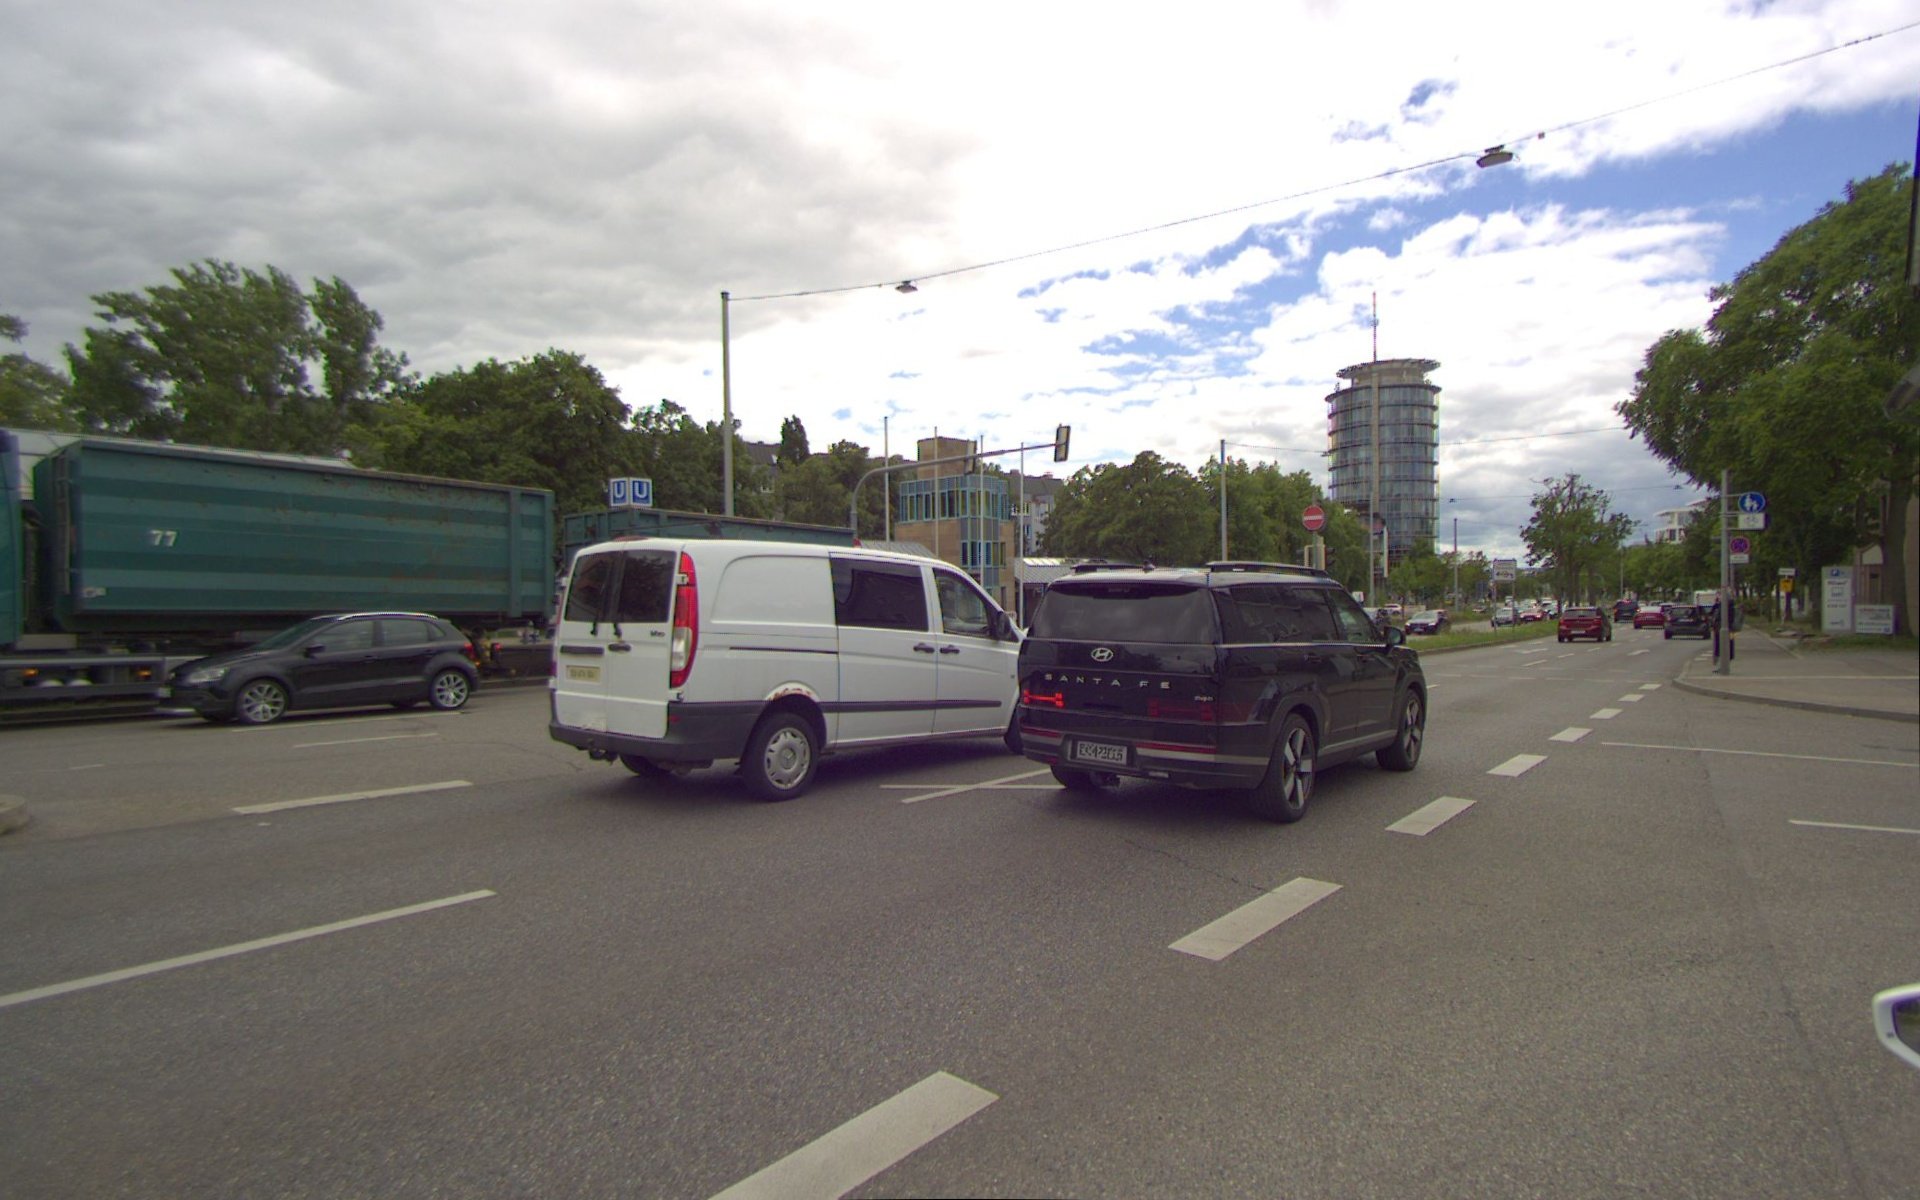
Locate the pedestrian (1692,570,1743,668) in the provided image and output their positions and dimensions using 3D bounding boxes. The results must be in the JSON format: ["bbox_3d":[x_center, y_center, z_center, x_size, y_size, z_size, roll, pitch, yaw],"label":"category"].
[{"bbox_3d":[16.137,0.403,21.385,0.763,2.040,0.872,0,0,44],"label":"pedestrian"}]

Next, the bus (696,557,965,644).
[{"bbox_3d":[-5.036,0.091,42.368,2.926,3.175,12.086,1,0,44],"label":"bus"}]

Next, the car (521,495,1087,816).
[{"bbox_3d":[-1.005,0.404,8.962,1.851,2.040,5.053,0,-1,39],"label":"car"}]

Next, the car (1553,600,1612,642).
[{"bbox_3d":[27.289,0.907,43.980,1.725,1.746,3.982,0,-1,39],"label":"car"}]

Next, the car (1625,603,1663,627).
[{"bbox_3d":[45.242,1.005,66.520,1.842,1.505,3.992,0,-2,31],"label":"car"}]

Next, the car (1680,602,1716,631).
[{"bbox_3d":[45.339,0.983,61.664,1.724,1.746,3.984,0,-1,37],"label":"car"}]

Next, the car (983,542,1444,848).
[{"bbox_3d":[2.356,0.553,8.244,1.899,1.775,4.657,1,0,39],"label":"car"}]

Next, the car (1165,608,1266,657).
[{"bbox_3d":[8.700,1.052,33.994,1.968,1.536,3.985,-1,-1,36],"label":"car"}]

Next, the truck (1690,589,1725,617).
[{"bbox_3d":[62.923,0.250,84.510,1.970,2.195,5.533,2,1,40],"label":"truck"}]

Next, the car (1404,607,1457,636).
[{"bbox_3d":[27.253,1.221,58.138,1.968,1.595,3.984,-1,-1,37],"label":"car"}]

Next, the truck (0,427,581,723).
[{"bbox_3d":[-12.042,-0.306,15.965,3.325,3.777,11.238,1,0,37],"label":"truck"}]

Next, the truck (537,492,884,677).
[{"bbox_3d":[-5.751,-0.245,24.677,3.326,3.777,7.995,-1,-1,38],"label":"truck"}]

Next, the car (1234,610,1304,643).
[{"bbox_3d":[15.010,1.235,48.653,1.967,1.527,4.478,0,0,34],"label":"car"}]

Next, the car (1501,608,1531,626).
[{"bbox_3d":[51.413,1.549,92.833,1.968,1.595,3.986,-1,-1,36],"label":"car"}]

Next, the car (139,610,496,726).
[{"bbox_3d":[-9.094,0.882,14.523,1.774,1.436,3.986,-2,-2,35],"label":"car"}]

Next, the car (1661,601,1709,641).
[{"bbox_3d":[33.208,0.947,46.001,1.724,1.746,3.985,0,-1,36],"label":"car"}]

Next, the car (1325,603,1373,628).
[{"bbox_3d":[25.970,1.018,67.015,1.968,1.595,3.984,-1,-1,37],"label":"car"}]

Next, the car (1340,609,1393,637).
[{"bbox_3d":[24.131,1.347,59.598,1.968,1.595,3.984,-1,-1,37],"label":"car"}]

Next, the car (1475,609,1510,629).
[{"bbox_3d":[43.199,1.510,81.492,1.968,1.595,3.986,-1,-1,36],"label":"car"}]
